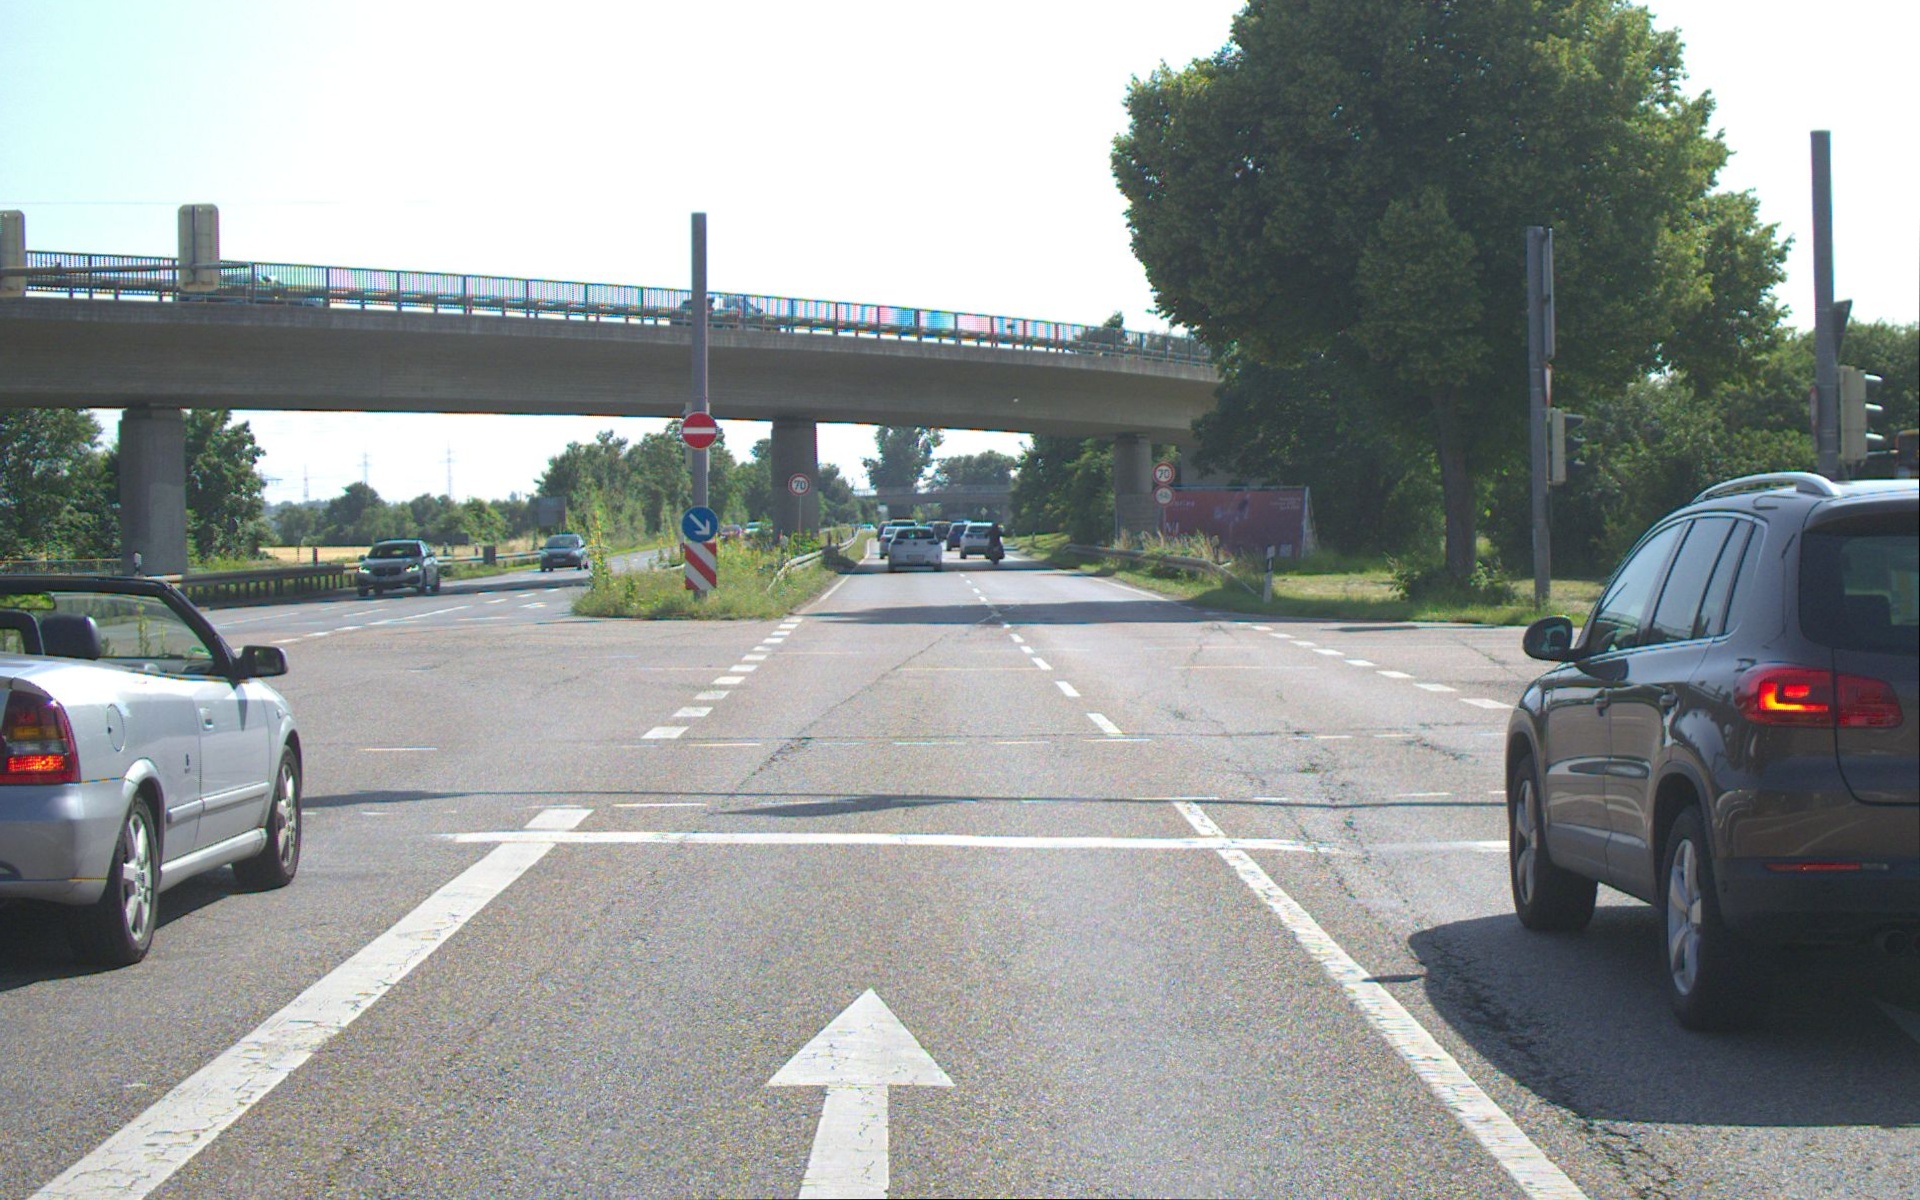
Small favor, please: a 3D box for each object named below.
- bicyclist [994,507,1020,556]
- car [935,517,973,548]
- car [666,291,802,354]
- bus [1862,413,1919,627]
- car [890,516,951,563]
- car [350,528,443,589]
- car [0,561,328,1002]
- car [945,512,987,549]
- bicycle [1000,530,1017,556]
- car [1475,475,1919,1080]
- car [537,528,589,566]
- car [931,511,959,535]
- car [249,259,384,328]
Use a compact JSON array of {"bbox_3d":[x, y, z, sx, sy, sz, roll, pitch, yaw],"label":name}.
[{"bbox_3d":[1.827,-2.666,133.187,1.007,1.880,1.327,0,1,1],"label":"bicyclist"},{"bbox_3d":[-0.343,-3.779,192.998,1.993,1.626,4.000,2,0,-1],"label":"car"},{"bbox_3d":[-6.483,-7.981,99.041,1.997,1.481,3.993,2,1,30],"label":"car"},{"bbox_3d":[18.633,-1.240,47.628,11.935,2.867,2.943,-2,1,-15],"label":"bus"},{"bbox_3d":[-1.251,-1.965,111.059,1.851,1.456,4.000,1,1,1],"label":"car"},{"bbox_3d":[-15.343,-1.146,93.763,1.882,1.510,4.148,-4,1,-2],"label":"car"},{"bbox_3d":[-3.585,0.551,12.902,1.673,1.330,4.098,0,2,0],"label":"car"},{"bbox_3d":[0.290,-3.218,157.630,1.873,1.634,4.000,1,1,1],"label":"car"},{"bbox_3d":[1.868,-2.224,132.958,0.600,0.979,2.361,-1,1,0],"label":"bicycle"},{"bbox_3d":[2.967,0.456,11.497,1.755,1.650,4.147,1,1,-1],"label":"car"},{"bbox_3d":[-16.022,-2.141,138.758,1.614,1.437,3.776,-3,1,0],"label":"car"},{"bbox_3d":[-1.096,-5.659,251.689,1.993,1.650,4.000,2,0,0],"label":"car"},{"bbox_3d":[-15.620,-7.431,83.537,1.322,1.481,3.191,0,2,35],"label":"car"}]
